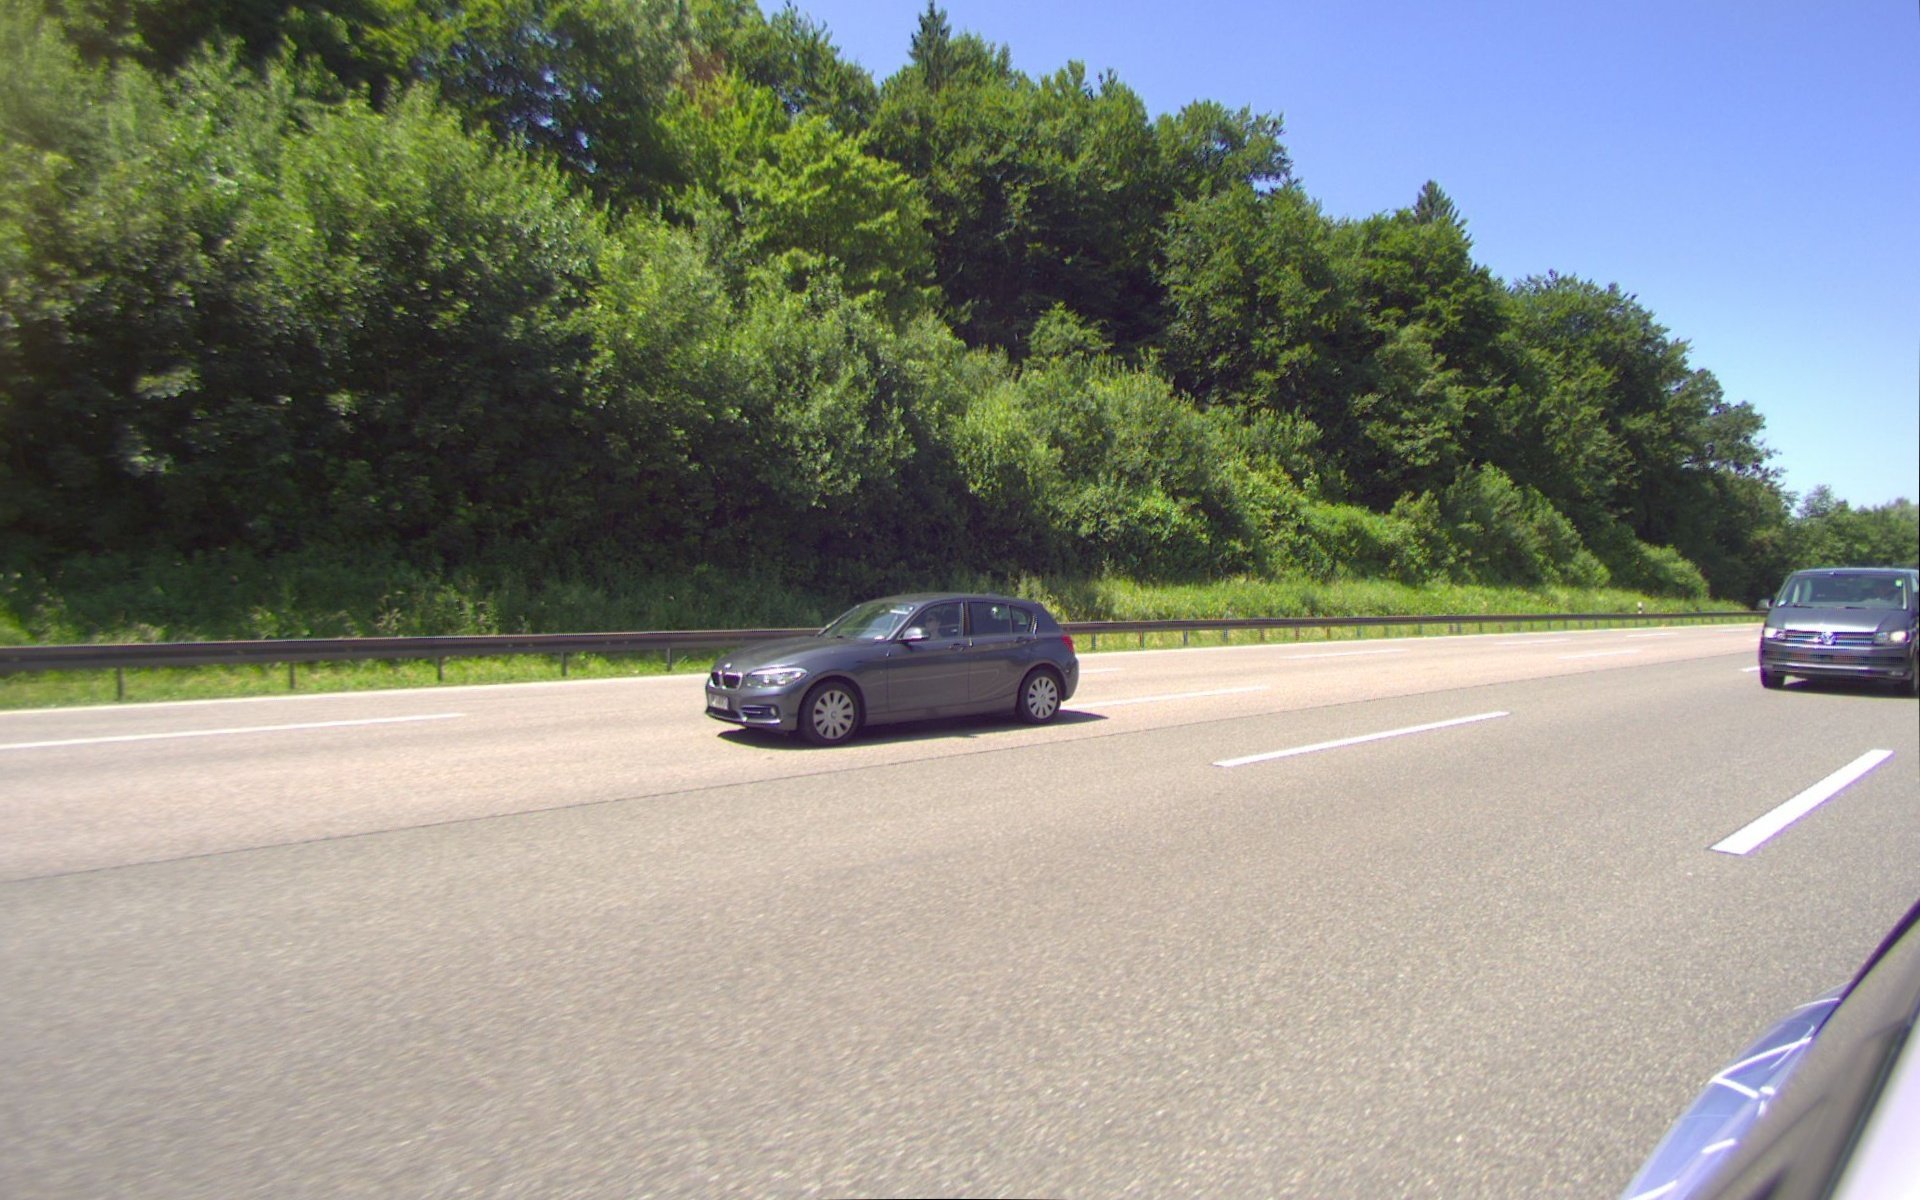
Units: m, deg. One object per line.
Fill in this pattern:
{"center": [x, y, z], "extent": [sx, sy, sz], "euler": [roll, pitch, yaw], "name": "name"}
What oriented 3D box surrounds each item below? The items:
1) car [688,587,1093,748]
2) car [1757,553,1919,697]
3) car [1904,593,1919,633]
{"center": [-0.623, 0.570, 10.786], "extent": [4.078, 1.413, 1.706], "euler": [0, 1, -38], "name": "car"}
{"center": [15.119, 0.341, 16.811], "extent": [4.992, 2.059, 1.967], "euler": [0, 1, -40], "name": "car"}
{"center": [38.479, 0.499, 39.755], "extent": [4.408, 1.538, 1.752], "euler": [0, 1, -43], "name": "car"}
